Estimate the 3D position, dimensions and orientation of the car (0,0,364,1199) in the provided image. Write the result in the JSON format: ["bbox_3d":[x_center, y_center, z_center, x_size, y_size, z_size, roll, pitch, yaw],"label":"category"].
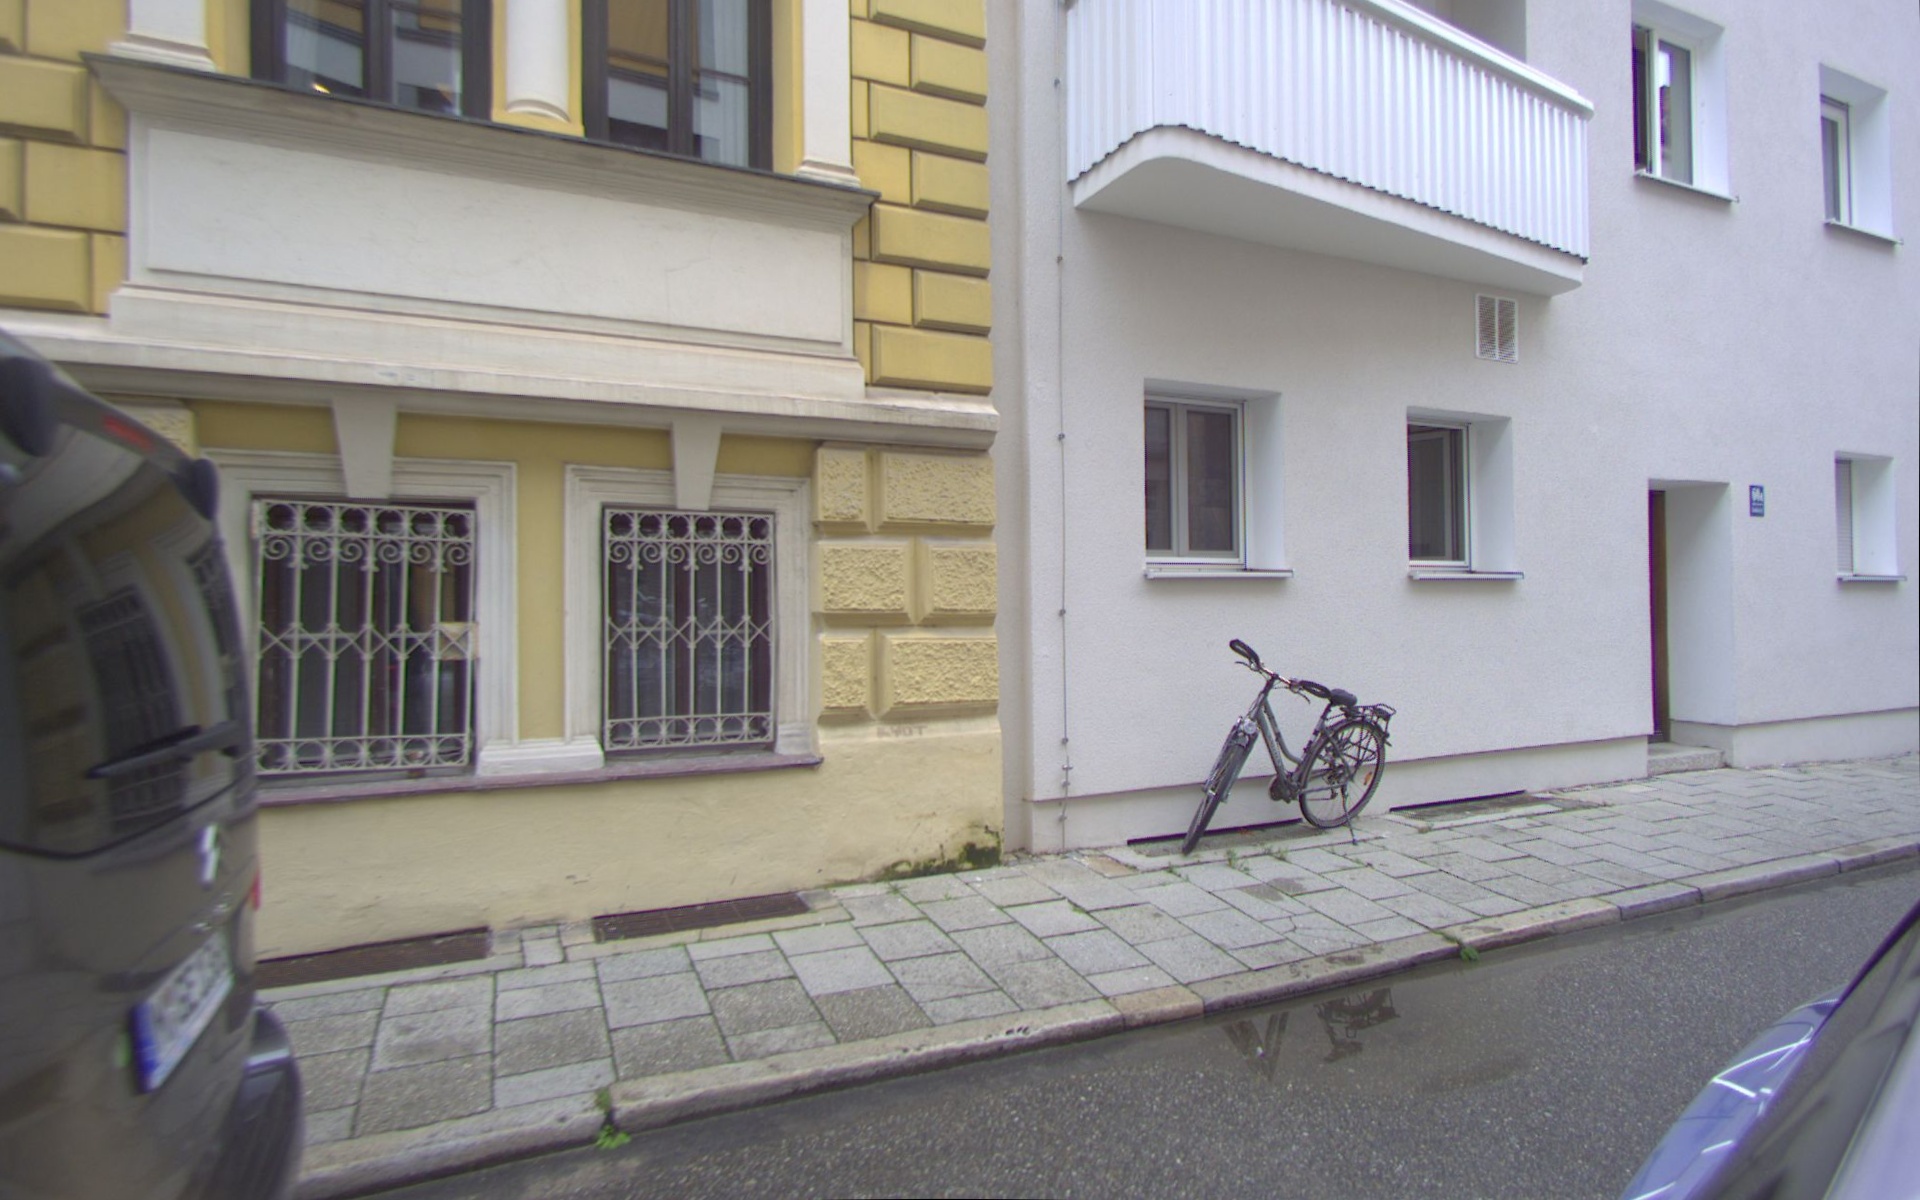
[{"bbox_3d":[-3.231,0.385,0.819,4.564,1.957,2.002,-1,-3,-25],"label":"car"}]

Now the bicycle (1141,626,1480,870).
[{"bbox_3d":[1.996,0.755,5.728,1.875,1.167,0.641,0,1,-24],"label":"bicycle"}]
